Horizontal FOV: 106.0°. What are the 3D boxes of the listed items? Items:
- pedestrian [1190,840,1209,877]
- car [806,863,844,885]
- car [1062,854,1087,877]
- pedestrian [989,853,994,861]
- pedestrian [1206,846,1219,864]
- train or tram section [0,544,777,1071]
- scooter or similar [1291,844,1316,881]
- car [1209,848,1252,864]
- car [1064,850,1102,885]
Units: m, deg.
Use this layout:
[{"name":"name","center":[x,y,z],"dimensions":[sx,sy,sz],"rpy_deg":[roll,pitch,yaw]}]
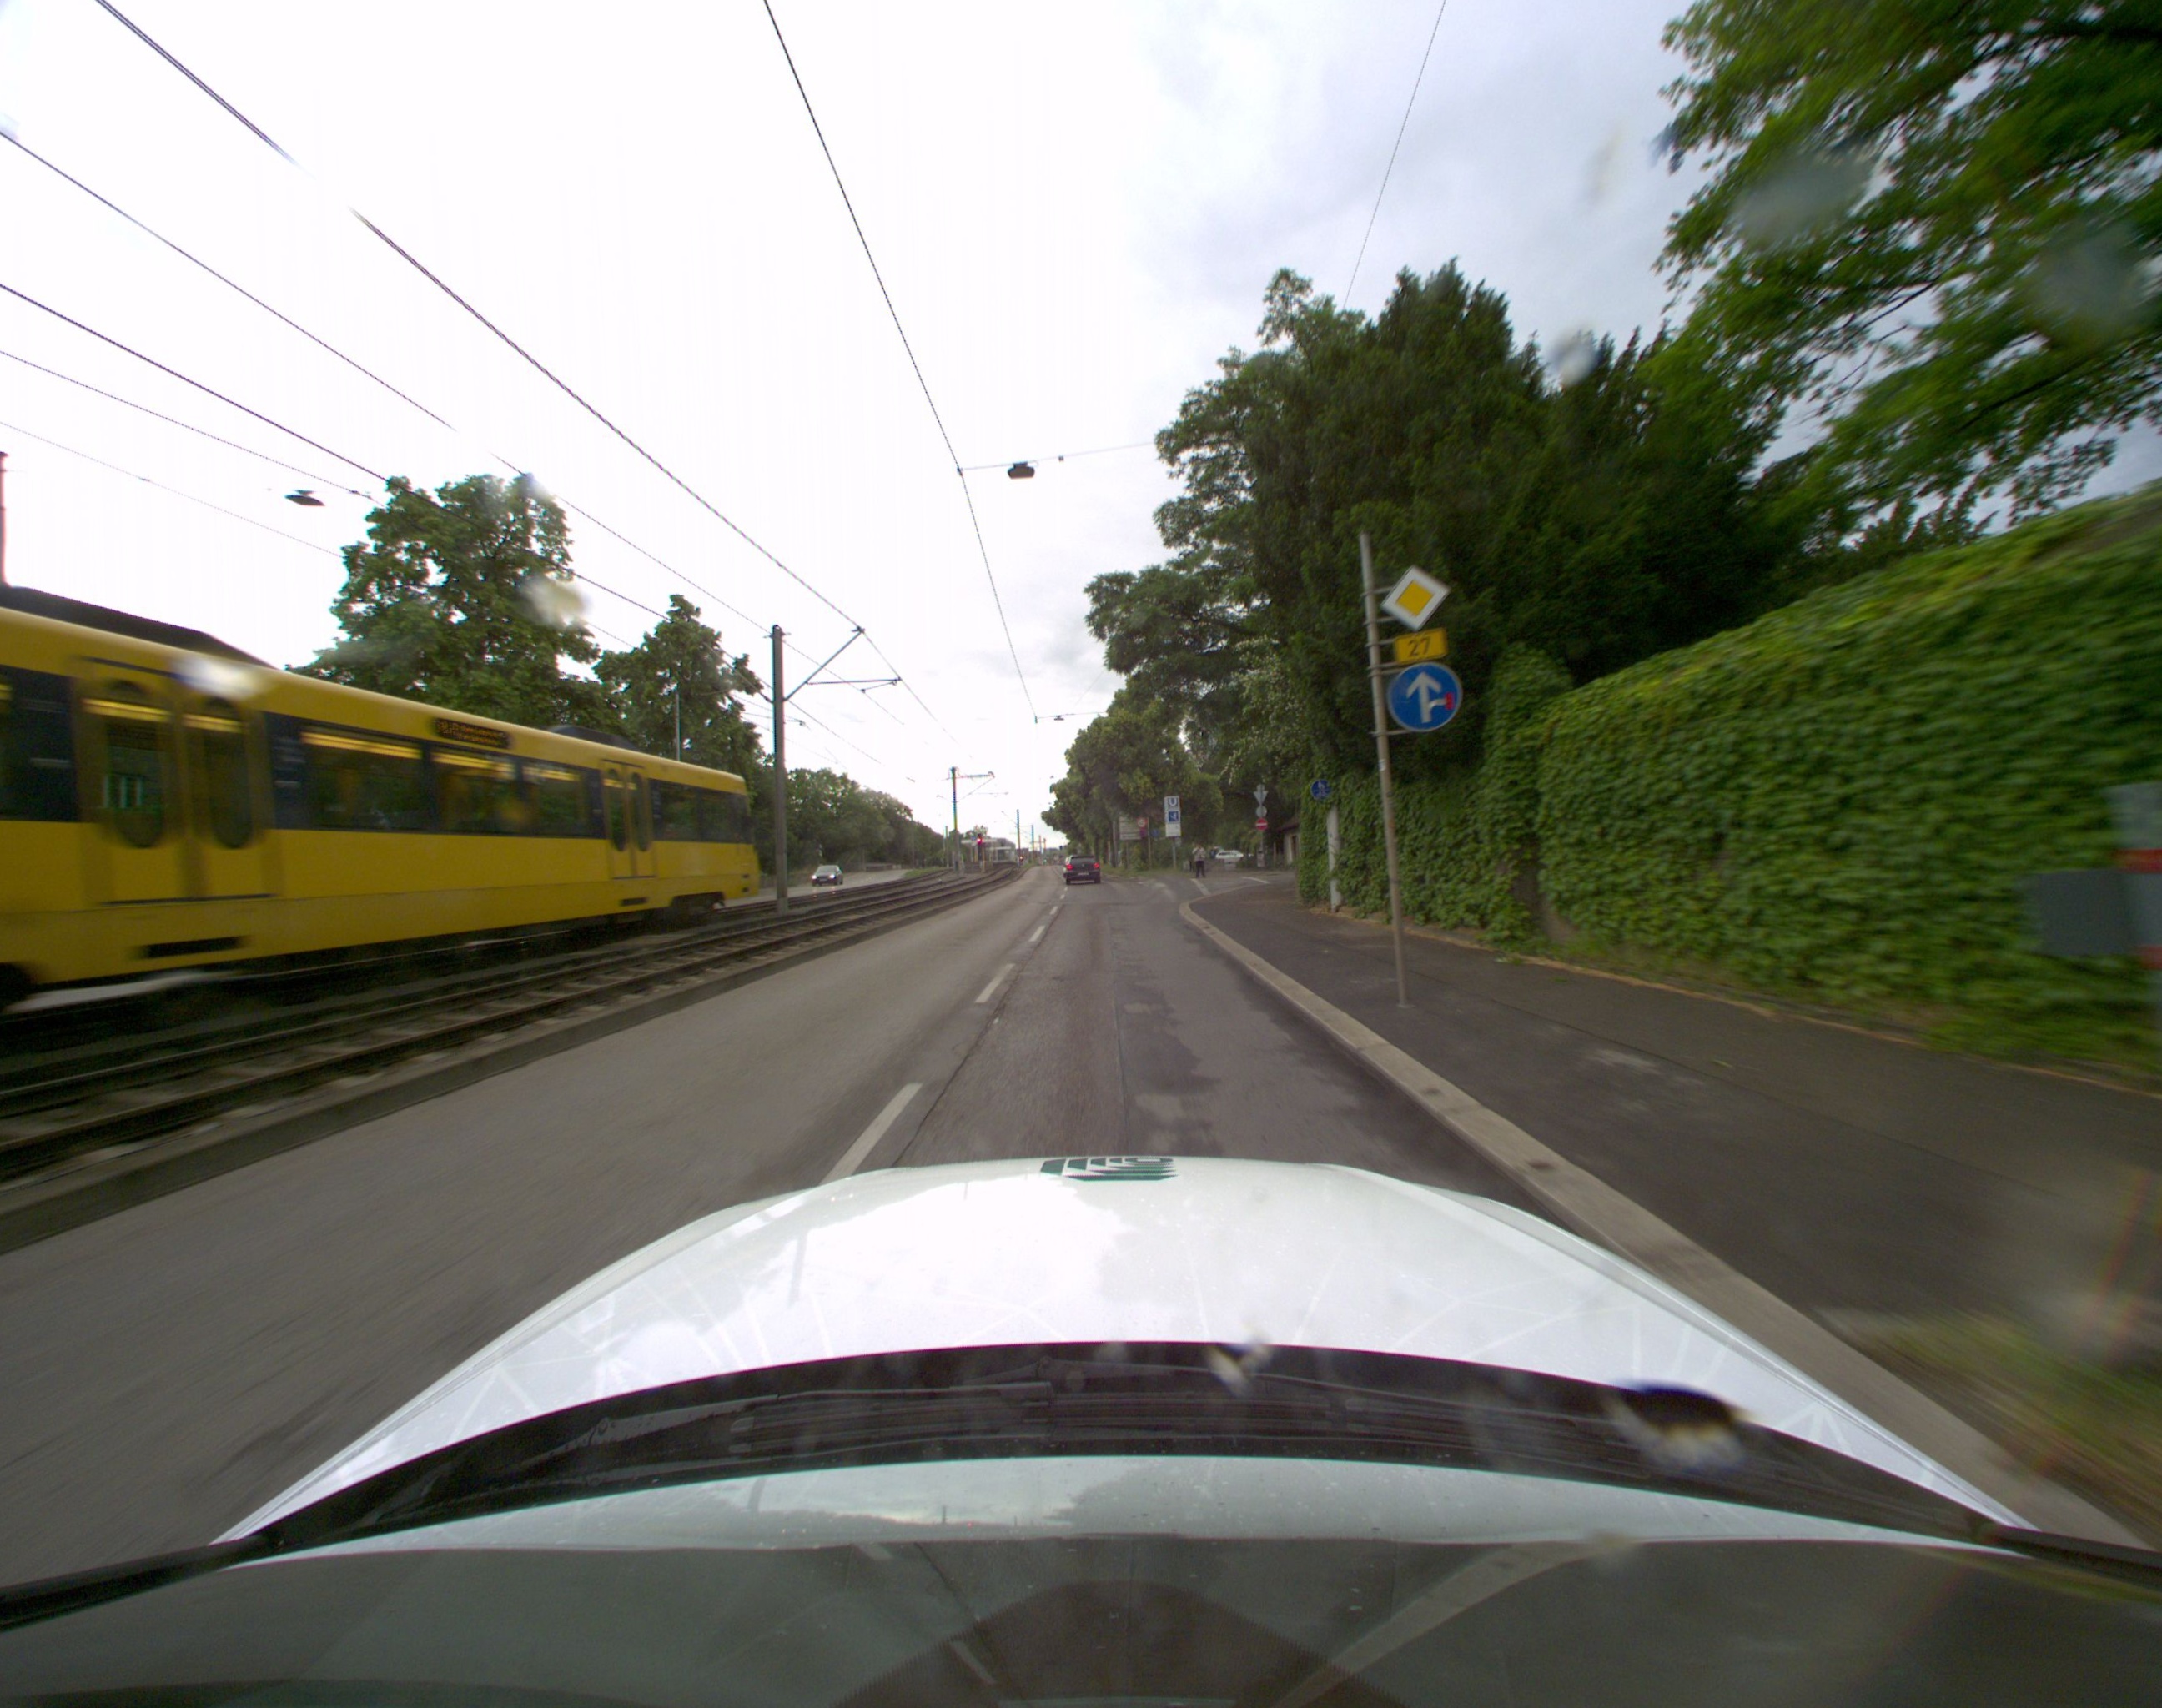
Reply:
[{"name":"pedestrian","center":[6.151,0.240,42.222],"dimensions":[0.852,1.854,0.737],"rpy_deg":[-2,0,1]},{"name":"car","center":[-18.457,1.442,58.953],"dimensions":[1.965,1.441,4.307],"rpy_deg":[-4,0,-9]},{"name":"car","center":[-0.524,0.830,60.860],"dimensions":[1.683,1.517,3.997],"rpy_deg":[-2,0,-2]},{"name":"pedestrian","center":[-14.079,0.429,128.646],"dimensions":[0.708,1.225,0.619],"rpy_deg":[-2,-1,-2]},{"name":"pedestrian","center":[14.728,0.140,91.253],"dimensions":[0.965,2.013,0.942],"rpy_deg":[-1,0,-26]},{"name":"train or tram section","center":[-9.491,-0.329,12.346],"dimensions":[2.819,3.976,17.876],"rpy_deg":[-2,0,0]},{"name":"scooter or similar","center":[7.721,0.285,28.313],"dimensions":[0.511,1.230,1.317],"rpy_deg":[-6,-1,7]},{"name":"car","center":[16.768,0.216,91.376],"dimensions":[1.957,1.834,4.414],"rpy_deg":[0,0,-43]},{"name":"car","center":[0.113,0.619,40.121],"dimensions":[1.721,1.540,4.000],"rpy_deg":[-2,0,0]}]
